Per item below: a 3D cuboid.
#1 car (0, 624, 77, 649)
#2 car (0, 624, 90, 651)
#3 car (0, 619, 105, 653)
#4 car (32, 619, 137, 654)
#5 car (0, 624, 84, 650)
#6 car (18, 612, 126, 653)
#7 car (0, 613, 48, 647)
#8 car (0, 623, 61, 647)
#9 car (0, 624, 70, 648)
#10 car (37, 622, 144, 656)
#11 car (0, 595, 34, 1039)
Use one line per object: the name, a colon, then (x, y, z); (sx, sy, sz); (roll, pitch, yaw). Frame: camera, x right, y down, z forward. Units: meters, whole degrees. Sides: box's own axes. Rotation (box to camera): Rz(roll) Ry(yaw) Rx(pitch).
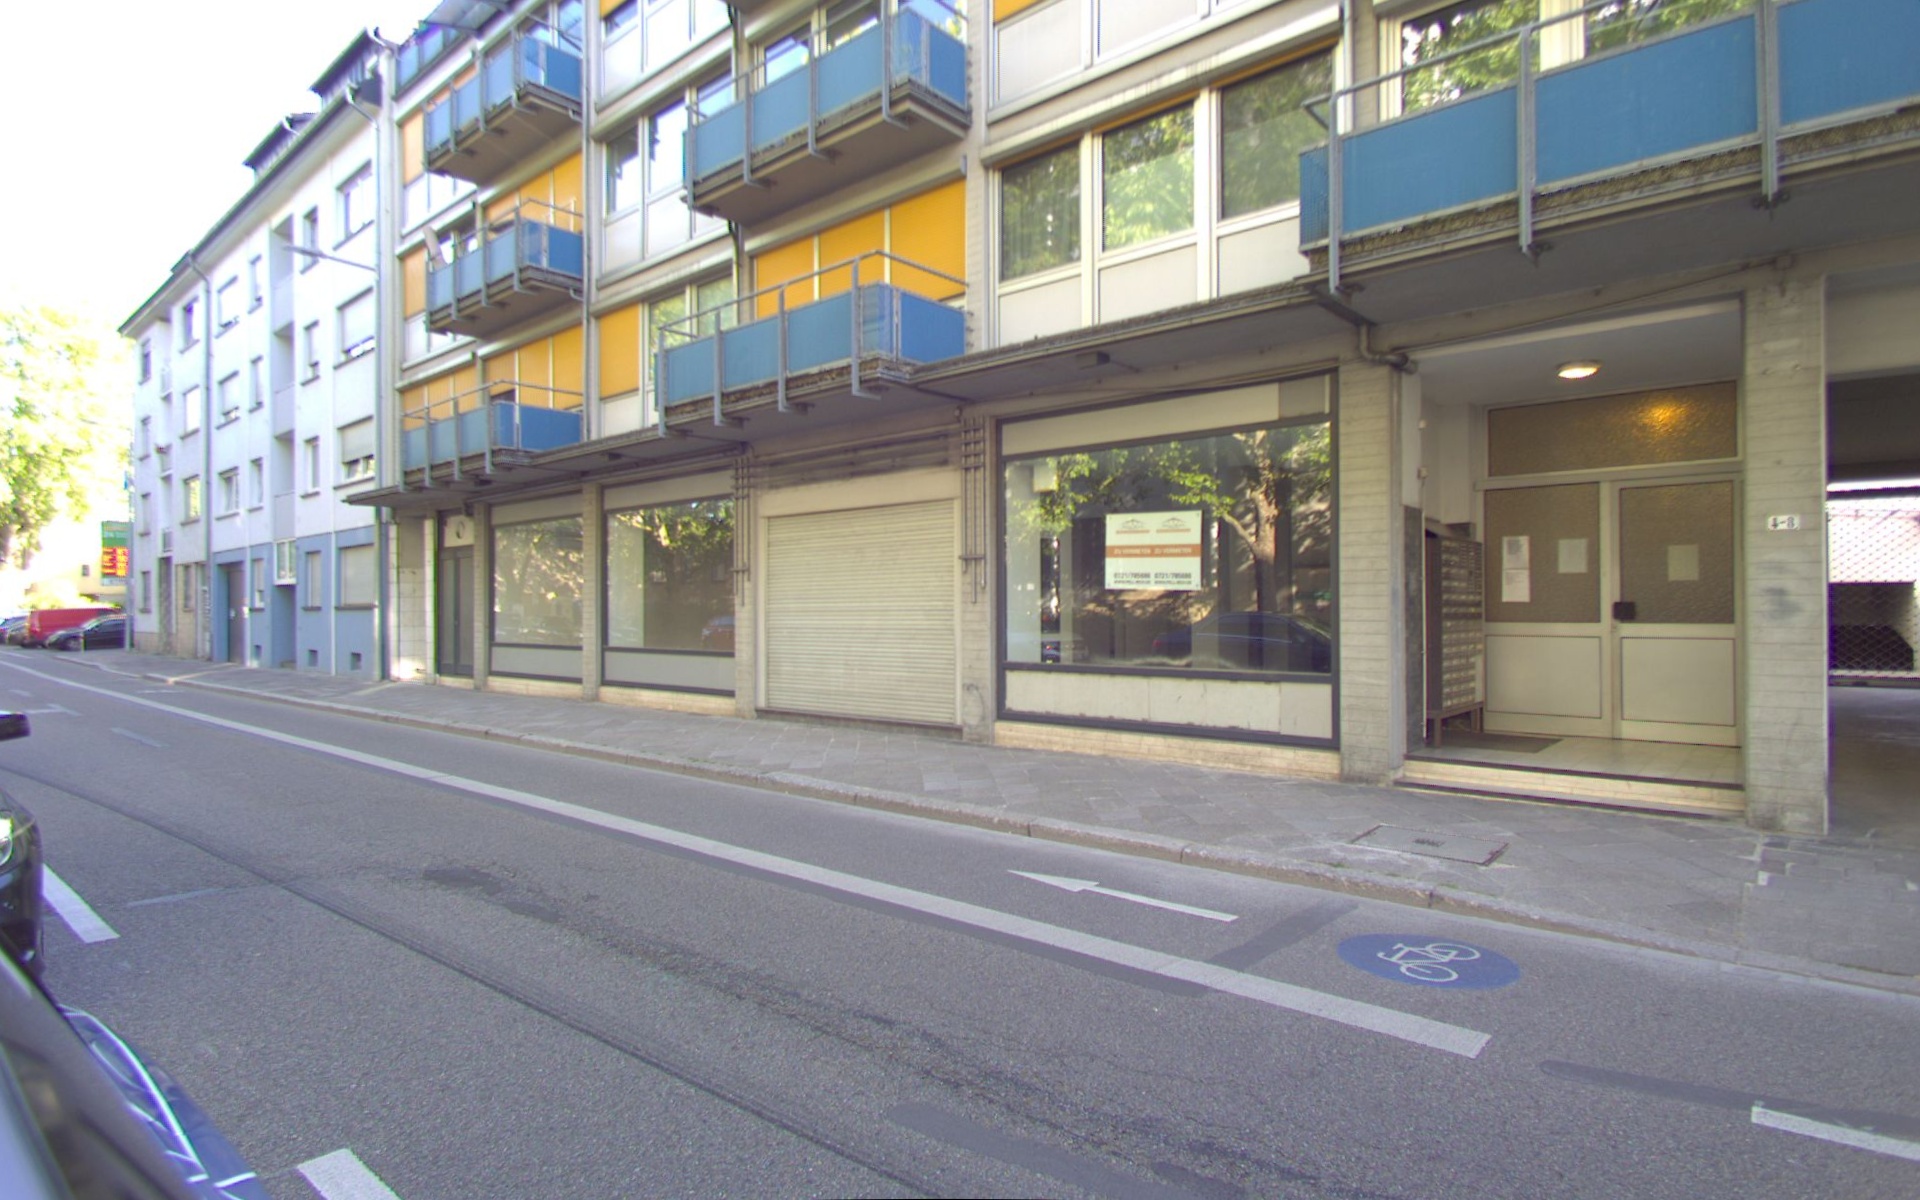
car: (-55.383, 2.185, 60.444); (1.525, 1.343, 3.854); (-1, 0, 42)
car: (-51.853, 2.104, 57.226); (1.594, 1.385, 3.854); (-1, 0, 42)
car: (-46.057, 1.788, 51.408); (1.603, 1.598, 3.854); (-1, 0, 42)
car: (-41.517, 1.708, 48.052); (1.602, 1.521, 3.620); (-1, 0, 42)
car: (-53.367, 2.124, 58.565); (1.594, 1.385, 3.854); (-1, 0, 42)
car: (-43.710, 1.573, 49.869); (1.749, 1.921, 3.854); (-1, -1, 42)
car: (-62.717, 1.976, 66.594); (1.725, 2.193, 3.854); (-1, 0, 42)
car: (-59.219, 2.197, 63.763); (1.539, 1.451, 3.733); (-1, 0, 42)
car: (-57.189, 2.209, 62.005); (1.525, 1.343, 3.854); (-1, 0, 42)
car: (-39.799, 1.753, 46.356); (1.534, 1.420, 3.551); (-2, -1, 42)
car: (-5.437, 0.769, 4.212); (4.291, 1.515, 1.805); (-1, 0, 40)
